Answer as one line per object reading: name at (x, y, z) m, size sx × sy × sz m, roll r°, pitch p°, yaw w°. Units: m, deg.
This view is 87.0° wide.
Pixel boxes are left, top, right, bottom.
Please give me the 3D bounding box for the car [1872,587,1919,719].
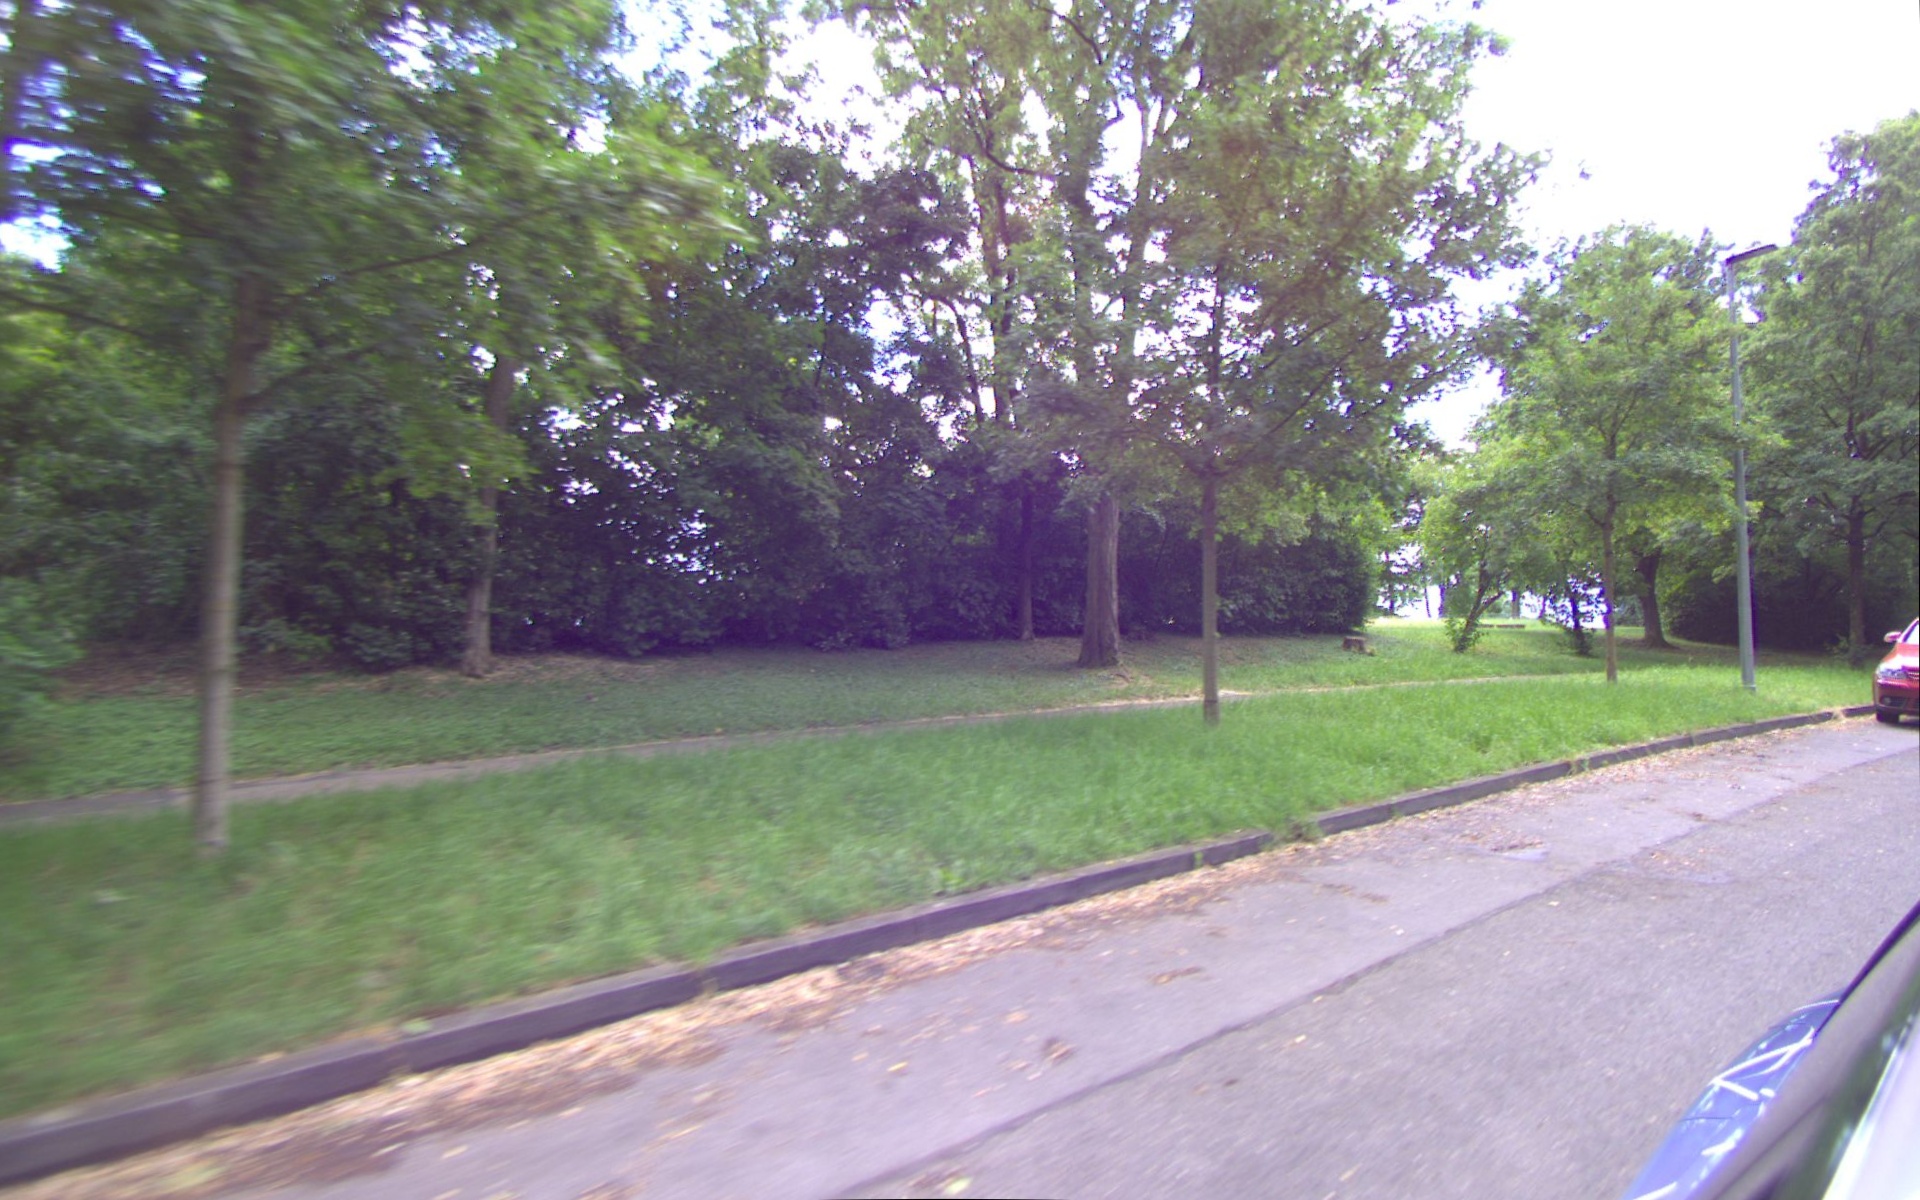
car at (13.573, 0.601, 12.998) m, size 4.587 × 1.571 × 1.716 m, roll -1°, pitch 0°, yaw -34°
